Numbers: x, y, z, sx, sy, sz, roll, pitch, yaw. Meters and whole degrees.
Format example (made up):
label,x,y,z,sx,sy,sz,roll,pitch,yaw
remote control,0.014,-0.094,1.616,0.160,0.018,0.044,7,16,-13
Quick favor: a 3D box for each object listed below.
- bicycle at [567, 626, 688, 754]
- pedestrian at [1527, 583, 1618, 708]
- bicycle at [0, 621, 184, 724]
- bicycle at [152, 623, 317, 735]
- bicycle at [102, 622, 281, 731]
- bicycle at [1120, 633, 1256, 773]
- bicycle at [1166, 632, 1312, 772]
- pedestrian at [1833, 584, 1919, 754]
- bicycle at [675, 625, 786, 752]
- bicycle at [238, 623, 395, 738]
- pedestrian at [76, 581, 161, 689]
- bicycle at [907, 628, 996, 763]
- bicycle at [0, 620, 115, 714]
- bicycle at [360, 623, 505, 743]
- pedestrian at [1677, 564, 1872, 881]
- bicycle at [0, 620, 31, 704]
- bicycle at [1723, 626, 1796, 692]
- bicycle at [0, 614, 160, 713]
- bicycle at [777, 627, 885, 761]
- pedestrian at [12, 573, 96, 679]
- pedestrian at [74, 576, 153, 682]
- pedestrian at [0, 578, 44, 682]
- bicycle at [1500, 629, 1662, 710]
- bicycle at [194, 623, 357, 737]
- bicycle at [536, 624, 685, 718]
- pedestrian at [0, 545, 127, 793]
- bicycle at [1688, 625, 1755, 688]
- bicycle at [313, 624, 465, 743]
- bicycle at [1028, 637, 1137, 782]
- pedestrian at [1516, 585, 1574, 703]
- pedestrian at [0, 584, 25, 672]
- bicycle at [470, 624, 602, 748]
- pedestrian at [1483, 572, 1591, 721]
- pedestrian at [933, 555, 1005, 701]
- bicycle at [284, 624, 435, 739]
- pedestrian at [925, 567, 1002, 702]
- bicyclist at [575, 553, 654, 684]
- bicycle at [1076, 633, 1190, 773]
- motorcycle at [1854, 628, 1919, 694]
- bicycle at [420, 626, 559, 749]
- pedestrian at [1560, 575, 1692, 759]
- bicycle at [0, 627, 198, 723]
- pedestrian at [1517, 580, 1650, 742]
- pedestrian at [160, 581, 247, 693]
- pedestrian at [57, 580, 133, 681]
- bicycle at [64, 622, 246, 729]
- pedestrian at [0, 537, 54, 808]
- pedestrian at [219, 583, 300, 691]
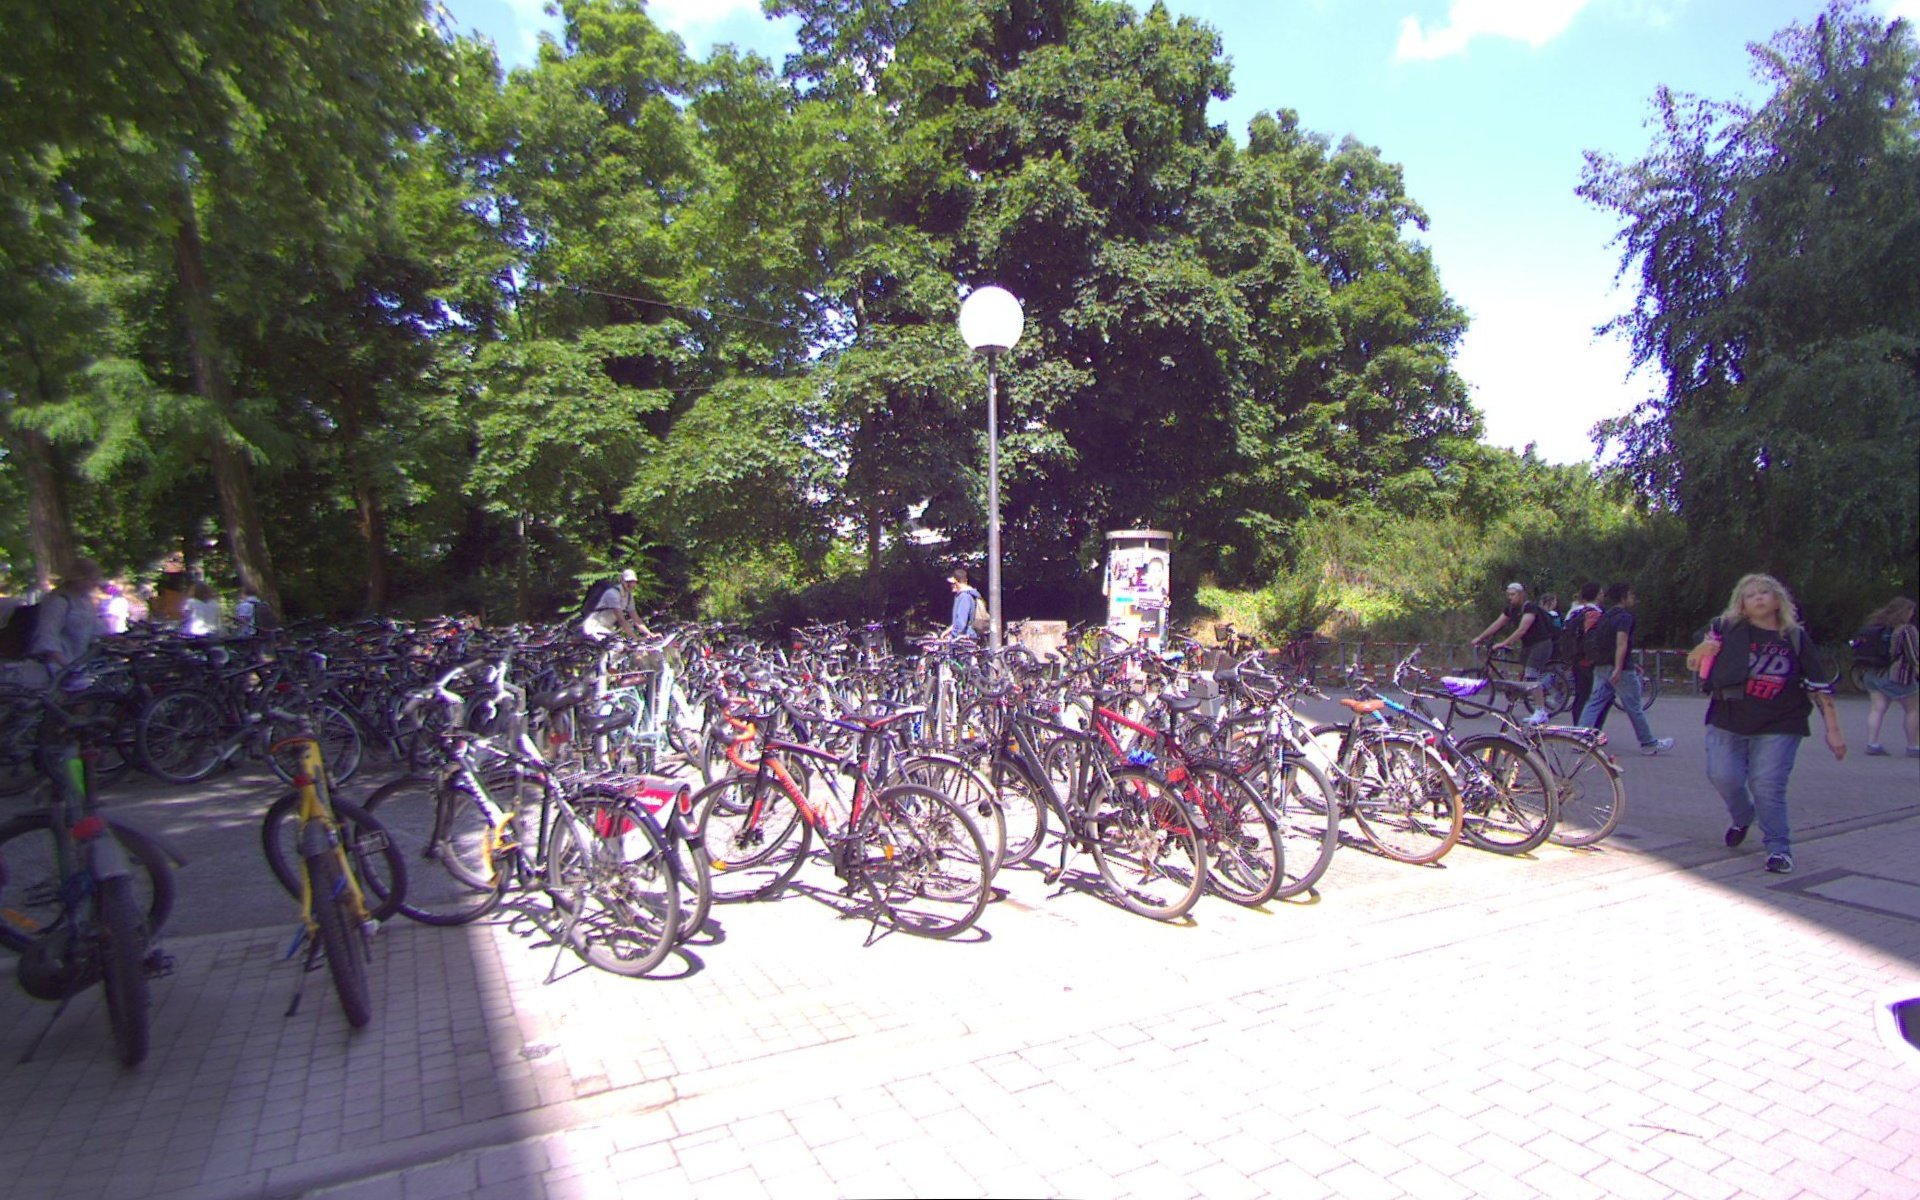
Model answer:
label,x,y,z,sx,sy,sz,roll,pitch,yaw
bicycle,-3.219,0.830,9.863,0.464,1.098,1.700,1,0,5
pedestrian,8.830,0.644,14.516,0.918,1.747,0.678,0,0,7
bicycle,-10.184,0.807,11.791,0.465,1.098,1.699,1,0,21
bicycle,-7.944,0.821,11.091,0.464,1.098,1.700,1,0,5
bicycle,-8.640,0.821,11.386,0.464,1.098,1.700,1,0,13
bicycle,2.030,0.880,9.178,0.466,1.098,1.719,1,0,-15
bicycle,2.549,0.891,9.360,0.466,1.125,1.693,1,0,-17
pedestrian,9.956,0.710,10.778,0.723,1.747,0.680,1,1,-32
bicycle,-2.218,0.819,9.894,0.464,1.098,1.700,1,0,8
bicycle,-6.879,0.818,10.836,0.464,1.098,1.700,1,0,5
pedestrian,-13.761,0.549,16.434,0.890,1.702,0.769,1,0,27
bicycle,-0.046,0.831,9.370,0.464,1.098,1.700,1,0,12
bicycle,-11.469,0.805,12.298,0.465,1.098,1.699,1,0,21
bicycle,-5.390,0.808,10.377,0.464,1.098,1.700,1,0,5
pedestrian,4.808,0.658,6.004,0.757,1.702,0.904,2,1,34
bicycle,-13.033,0.811,12.819,0.465,1.098,1.699,1,0,21
bicycle,14.544,1.049,18.314,0.465,1.061,1.699,2,2,19
bicycle,-10.690,0.724,12.050,0.465,1.098,1.699,1,0,21
bicycle,-1.171,0.822,9.440,0.464,1.098,1.700,1,0,12
pedestrian,-15.061,0.415,16.705,0.890,1.702,0.769,1,0,27
pedestrian,-14.837,0.495,17.613,0.890,1.798,0.769,1,0,27
pedestrian,-16.893,0.513,17.751,0.890,1.798,0.769,1,0,27
bicycle,8.762,0.973,14.224,1.870,1.061,0.542,1,-1,8
bicycle,-7.358,0.822,10.891,0.464,1.098,1.700,1,0,5
bicycle,-4.370,0.869,12.577,1.665,1.098,0.604,1,0,10
pedestrian,-6.764,0.480,7.430,0.900,1.725,0.760,0,0,-42
bicycle,13.936,1.013,18.423,0.465,1.061,1.700,1,0,19
bicycle,-5.873,0.818,10.442,0.464,1.098,1.700,1,0,5
bicycle,1.041,0.907,8.871,0.465,1.098,1.696,1,0,-10
pedestrian,8.927,0.663,15.357,0.673,1.747,0.731,0,0,24
pedestrian,-20.005,0.563,20.828,0.893,1.798,0.767,1,0,38
bicycle,-4.237,0.817,10.158,0.464,1.098,1.700,1,0,5
pedestrian,7.409,0.588,12.927,1.029,1.860,0.614,1,0,0
pedestrian,0.127,0.351,13.120,0.865,1.839,0.835,1,0,4
bicycle,-6.369,0.823,10.758,0.464,1.098,1.700,1,0,5
pedestrian,0.063,0.463,14.050,0.964,1.828,0.770,1,0,8
bicyclist,-4.310,0.224,12.567,0.707,1.589,0.596,1,0,10
bicycle,1.526,0.876,9.138,0.465,1.098,1.696,1,0,-10
motorcycle,17.116,1.094,18.163,0.464,1.061,2.027,1,1,13
bicycle,-4.719,0.831,10.203,0.464,1.098,1.700,1,0,5
pedestrian,6.942,0.679,10.503,0.922,1.860,0.686,0,0,5
bicycle,-9.808,0.813,11.504,0.443,0.975,1.740,1,0,21
pedestrian,6.974,0.668,11.279,1.043,1.747,0.719,0,0,3
pedestrian,-11.861,0.556,15.762,0.890,1.702,0.769,1,0,27
pedestrian,-15.844,0.534,18.412,0.890,1.798,0.769,1,0,27
bicycle,-9.145,0.818,11.501,0.464,1.098,1.700,1,0,13
pedestrian,-6.518,0.459,6.339,0.754,1.725,0.907,1,0,9
pedestrian,-11.500,0.586,16.498,0.890,1.702,0.769,1,0,27
